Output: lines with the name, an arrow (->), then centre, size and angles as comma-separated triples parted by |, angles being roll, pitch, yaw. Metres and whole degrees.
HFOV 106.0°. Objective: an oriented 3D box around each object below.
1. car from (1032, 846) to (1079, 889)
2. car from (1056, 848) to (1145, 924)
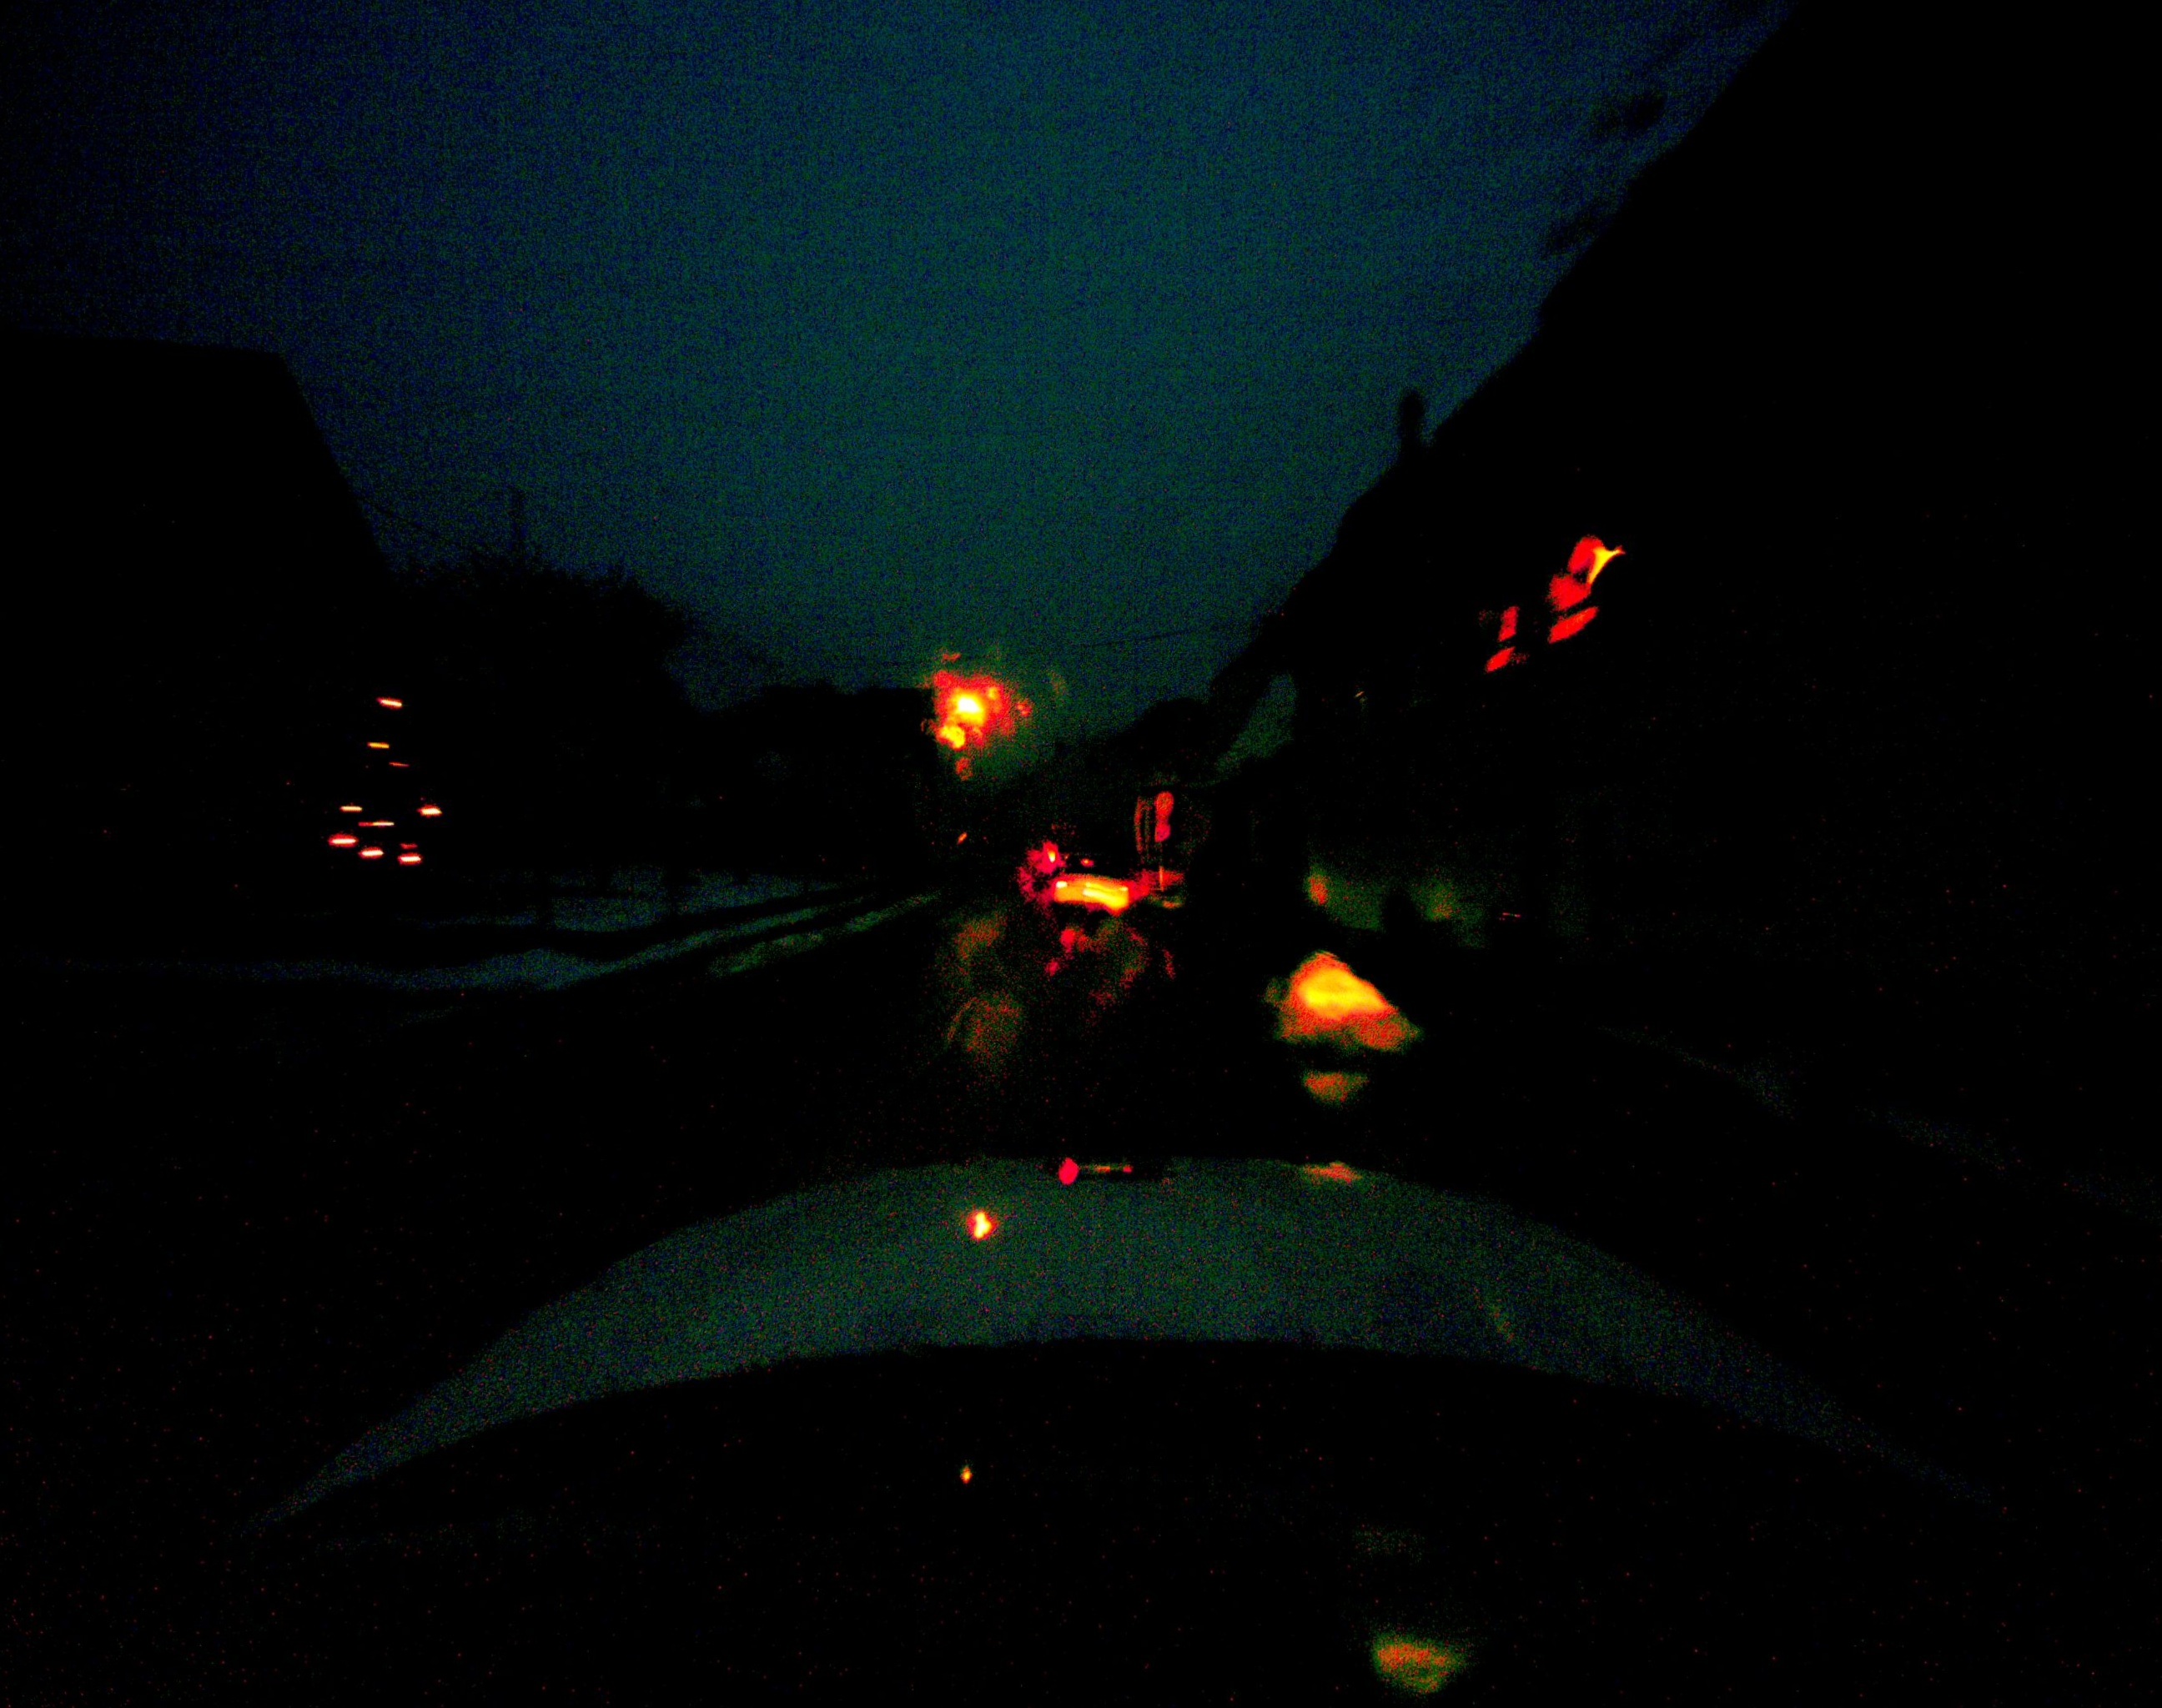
car -> -1.041, 0.535, 31.835 | 1.642, 1.596, 3.693 | 1, -1, -5
car -> 0.364, 0.729, 19.110 | 1.643, 1.596, 3.692 | 1, -1, -5
